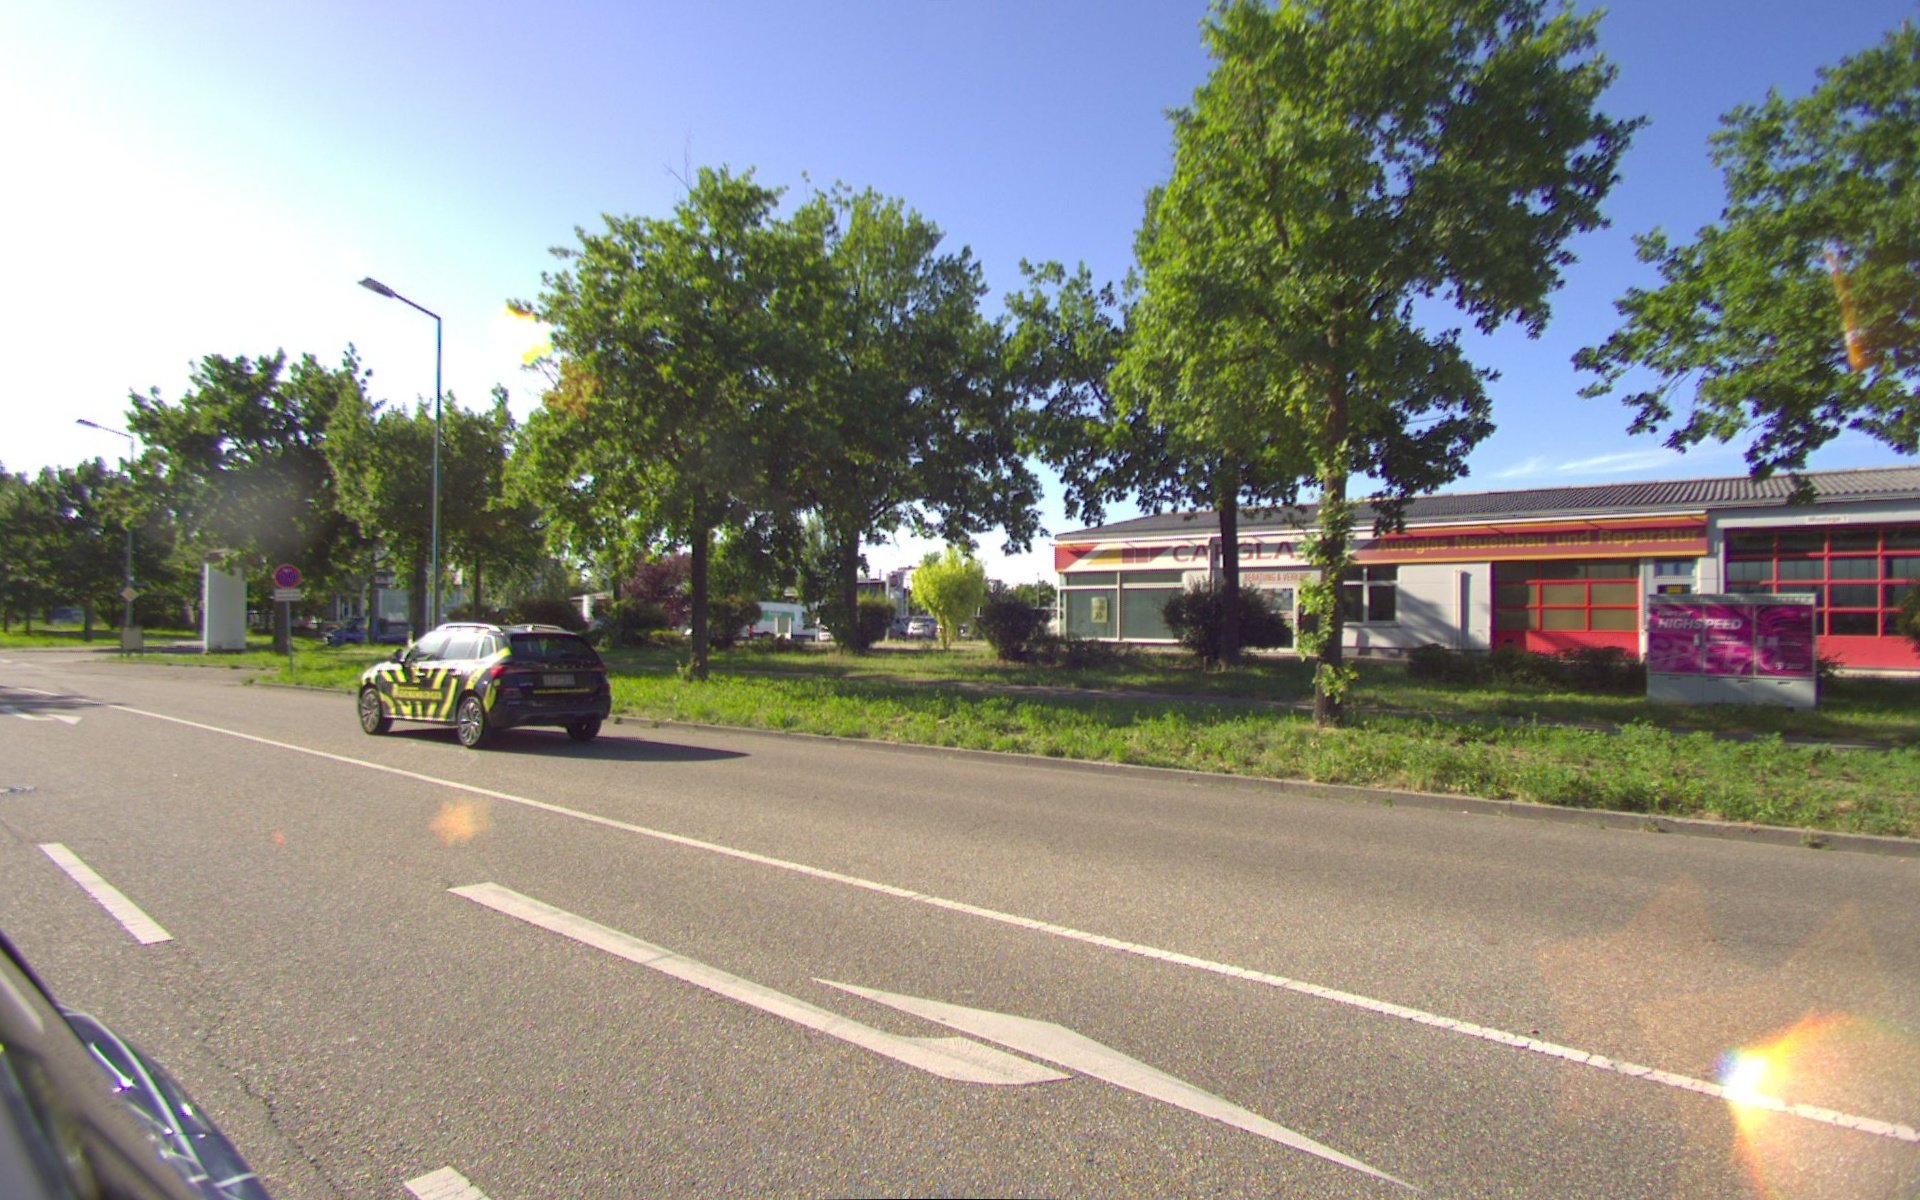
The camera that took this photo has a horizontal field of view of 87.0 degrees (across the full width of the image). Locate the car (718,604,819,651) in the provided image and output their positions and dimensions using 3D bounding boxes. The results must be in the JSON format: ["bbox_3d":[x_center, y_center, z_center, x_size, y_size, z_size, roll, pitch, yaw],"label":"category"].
[{"bbox_3d":[-11.456,1.599,60.996,2.406,2.574,5.952,-1,0,36],"label":"car"}]

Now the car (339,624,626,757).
[{"bbox_3d":[-6.554,1.121,13.757,4.071,1.537,1.747,-1,-3,36],"label":"car"}]

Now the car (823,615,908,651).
[{"bbox_3d":[-5.149,1.769,55.784,1.989,1.795,4.583,-1,0,40],"label":"car"}]

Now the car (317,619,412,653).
[{"bbox_3d":[-35.974,2.154,61.230,1.999,1.847,4.578,-1,0,41],"label":"car"}]

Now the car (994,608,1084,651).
[{"bbox_3d":[3.209,1.157,40.600,1.734,1.583,3.769,-3,-1,40],"label":"car"}]

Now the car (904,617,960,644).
[{"bbox_3d":[-1.875,2.053,68.618,1.761,1.684,3.811,-1,0,40],"label":"car"}]
